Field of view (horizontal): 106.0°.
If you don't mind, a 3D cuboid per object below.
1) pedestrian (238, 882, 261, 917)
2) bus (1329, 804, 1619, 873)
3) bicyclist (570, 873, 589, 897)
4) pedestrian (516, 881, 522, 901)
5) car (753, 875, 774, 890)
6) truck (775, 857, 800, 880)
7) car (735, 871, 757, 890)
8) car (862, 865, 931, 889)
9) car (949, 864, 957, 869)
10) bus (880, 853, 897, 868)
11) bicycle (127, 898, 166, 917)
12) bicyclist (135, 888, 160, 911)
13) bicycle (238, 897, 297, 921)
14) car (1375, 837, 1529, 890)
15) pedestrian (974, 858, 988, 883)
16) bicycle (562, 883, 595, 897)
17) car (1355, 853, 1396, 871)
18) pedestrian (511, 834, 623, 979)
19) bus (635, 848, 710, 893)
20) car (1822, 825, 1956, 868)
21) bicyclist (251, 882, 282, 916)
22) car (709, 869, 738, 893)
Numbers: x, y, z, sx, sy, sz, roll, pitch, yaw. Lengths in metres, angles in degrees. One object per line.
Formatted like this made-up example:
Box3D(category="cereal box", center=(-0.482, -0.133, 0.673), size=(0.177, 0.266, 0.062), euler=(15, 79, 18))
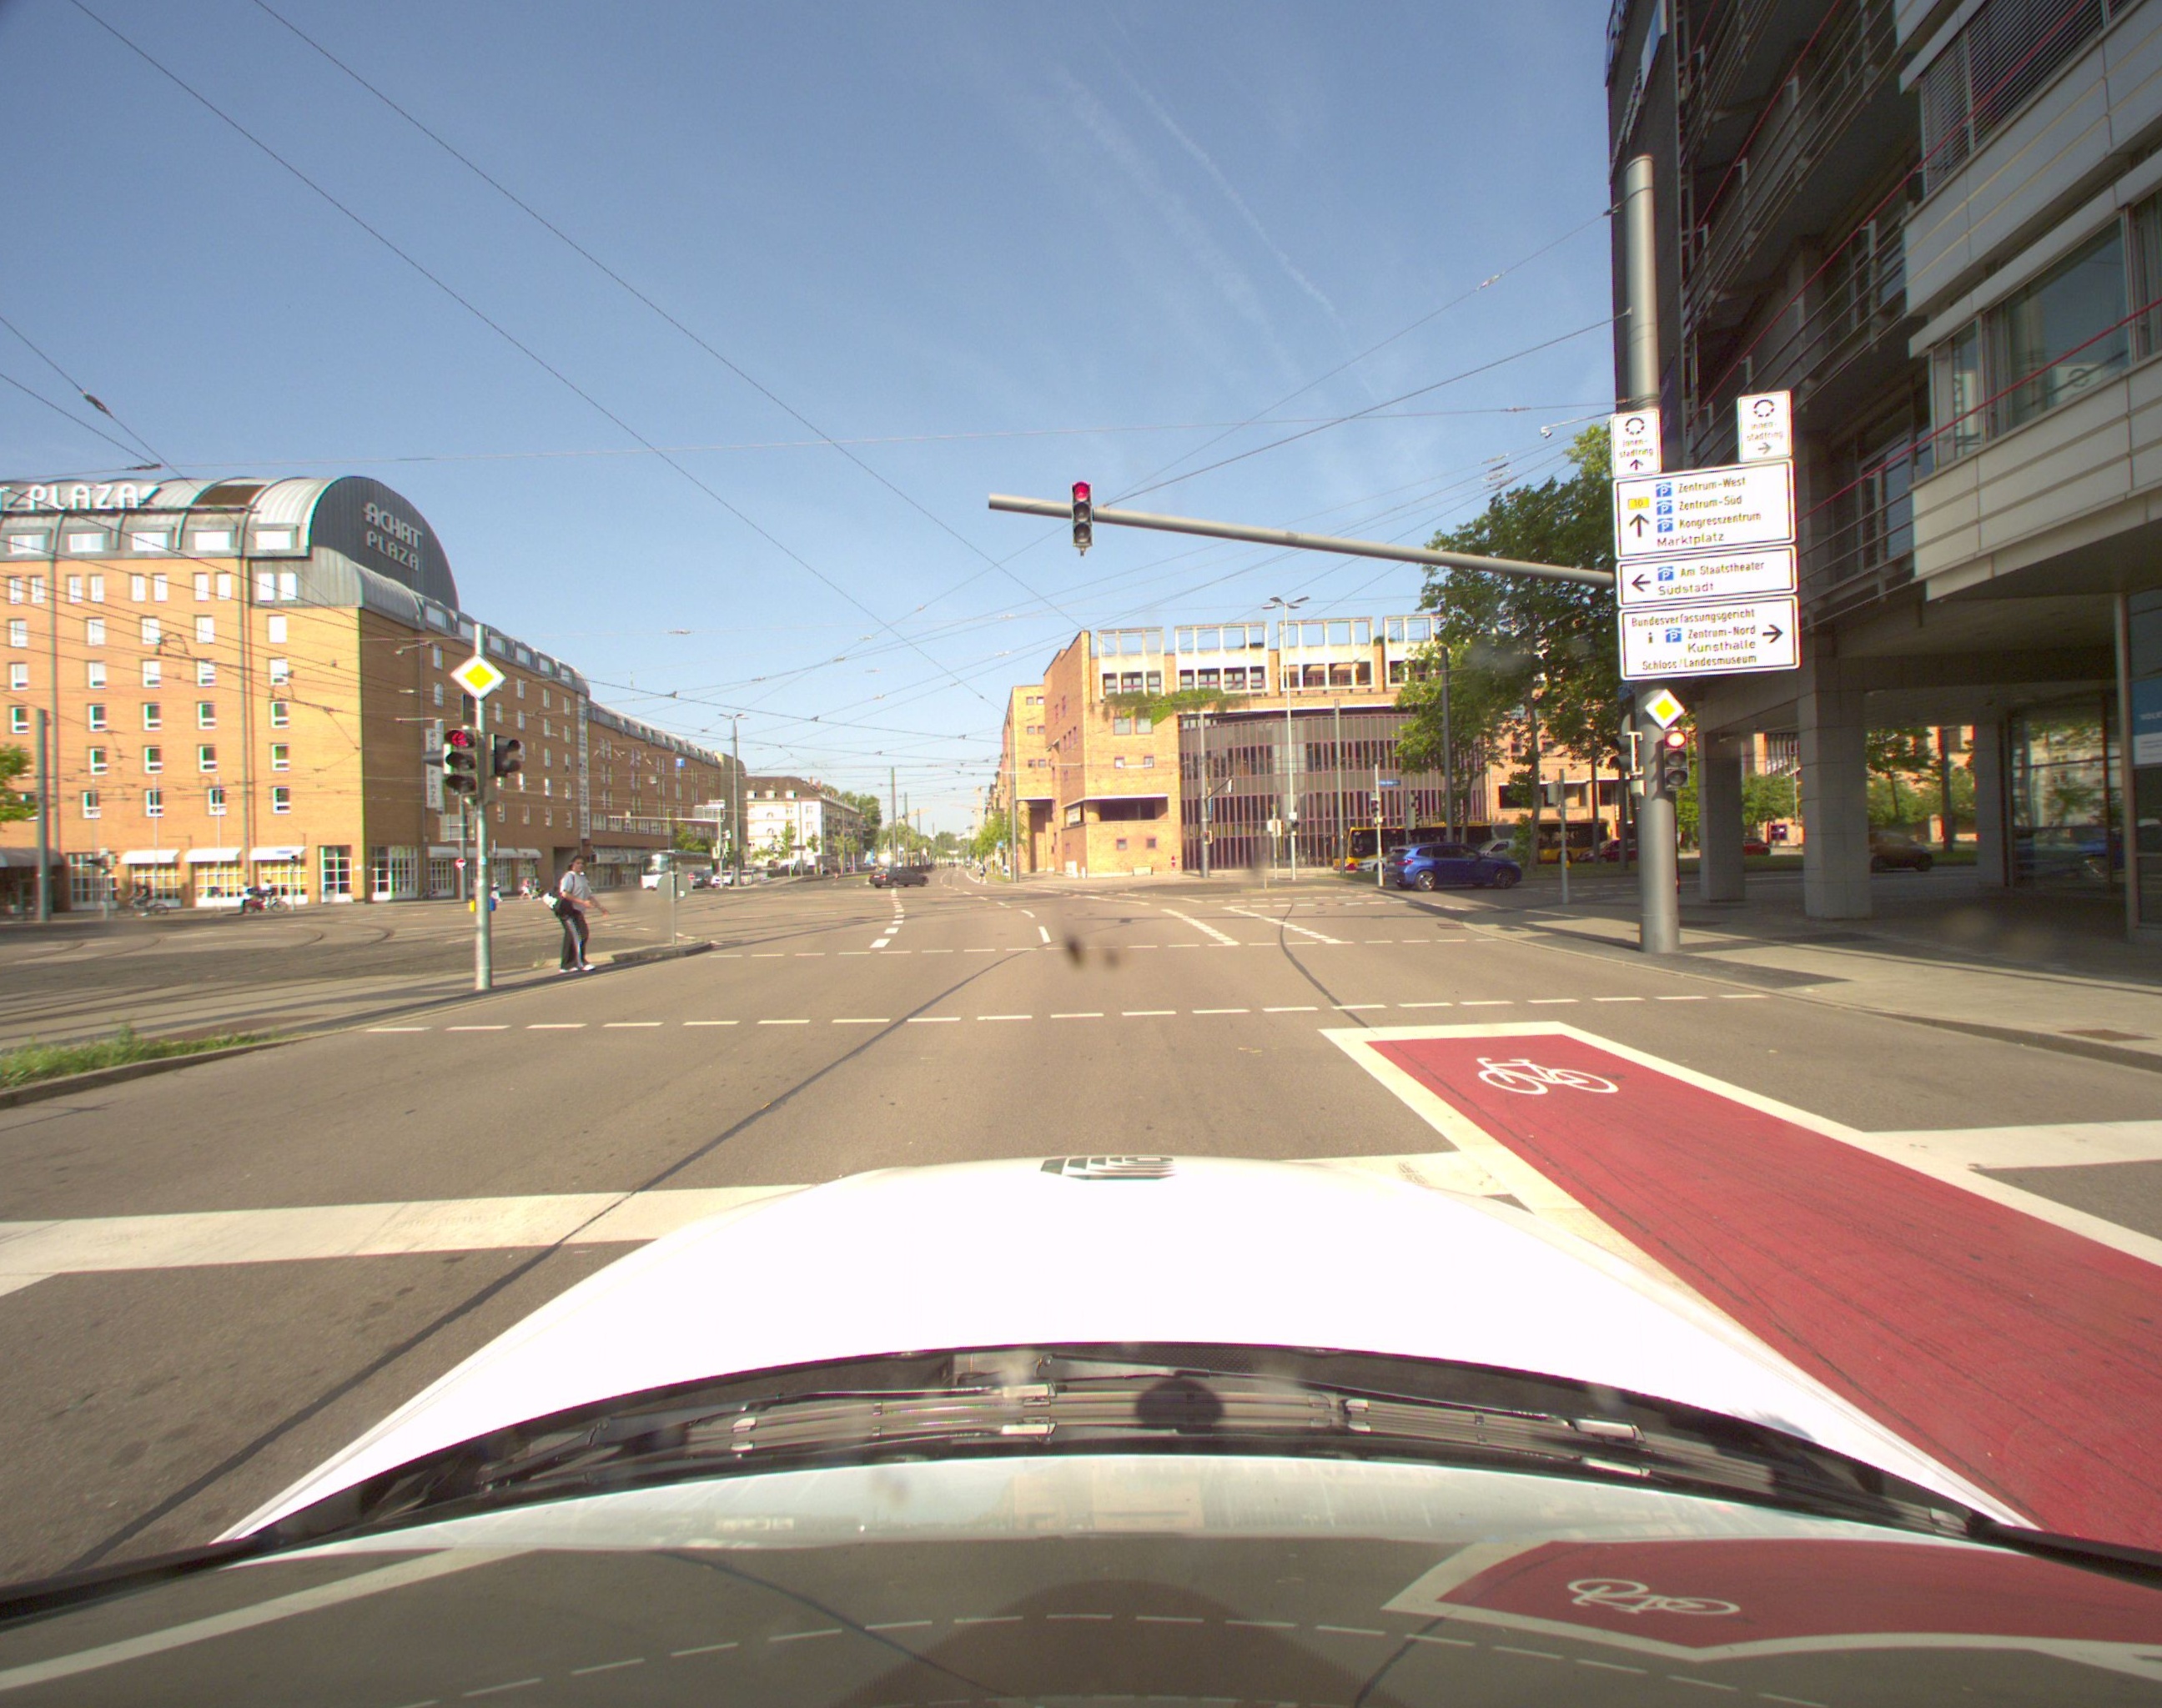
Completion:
Box3D(category="pedestrian", center=(-48.101, 2.641, 47.111), size=(0.753, 1.953, 0.874), euler=(-1, -1, -35))
Box3D(category="bus", center=(24.742, -0.971, 51.426), size=(17.591, 3.811, 2.858), euler=(-2, -2, -7))
Box3D(category="bicyclist", center=(-36.007, 2.228, 58.482), size=(0.987, 1.696, 0.668), euler=(-1, -2, -12))
Box3D(category="pedestrian", center=(-41.313, 2.726, 59.865), size=(0.371, 1.483, 0.426), euler=(0, -2, -38))
Box3D(category="car", center=(-32.673, 2.960, 83.882), size=(1.390, 1.481, 2.735), euler=(-1, -2, -8))
Box3D(category="truck", center=(-35.981, 1.822, 99.961), size=(1.993, 2.599, 4.725), euler=(-1, -2, -9))
Box3D(category="car", center=(-32.075, 2.510, 78.002), size=(1.207, 1.760, 2.604), euler=(-2, -2, -5))
Box3D(category="car", center=(-12.169, 1.497, 54.027), size=(1.974, 1.487, 4.247), euler=(-3, -2, 33))
Box3D(category="car", center=(-40.186, 3.946, 254.788), size=(2.077, 1.542, 4.392), euler=(-1, -1, -14))
Box3D(category="bus", center=(-26.615, 0.849, 112.732), size=(1.994, 2.013, 3.985), euler=(-1, 0, -11))
Box3D(category="bicycle", center=(-47.218, 2.699, 41.172), size=(0.345, 0.872, 1.398), euler=(-2, -2, 2))
Box3D(category="bicyclist", center=(-47.230, 2.316, 41.204), size=(0.520, 1.129, 0.610), euler=(-2, -2, 1))
Box3D(category="bicycle", center=(-44.027, 2.975, 44.102), size=(0.544, 1.206, 2.296), euler=(-2, -2, 15))
Box3D(category="car", center=(12.696, 0.324, 28.072), size=(4.392, 1.636, 1.988), euler=(-2, -2, -5))
Box3D(category="pedestrian", center=(-8.243, 1.315, 66.896), size=(0.834, 2.013, 0.814), euler=(-2, 0, 18))
Box3D(category="bicycle", center=(-36.040, 2.592, 58.467), size=(1.961, 0.970, 0.418), euler=(-1, -2, -13))
Box3D(category="car", center=(16.985, 0.450, 47.030), size=(1.944, 0.958, 1.094), euler=(-2, 0, 1))
Box3D(category="pedestrian", center=(-7.506, 0.749, 11.940), size=(1.154, 2.014, 0.774), euler=(-1, -2, -8))
Box3D(category="bus", center=(-38.324, 1.637, 77.036), size=(2.746, 3.921, 12.176), euler=(-1, -2, -9))
Box3D(category="car", center=(29.849, -0.268, 30.134), size=(3.590, 1.492, 1.697), euler=(-1, -1, -9))
Box3D(category="bicyclist", center=(-44.055, 2.426, 44.045), size=(0.659, 1.747, 0.971), euler=(-2, -2, 15))
Box3D(category="car", center=(-31.326, 2.382, 71.404), size=(1.600, 2.014, 2.722), euler=(-1, -2, -8))
